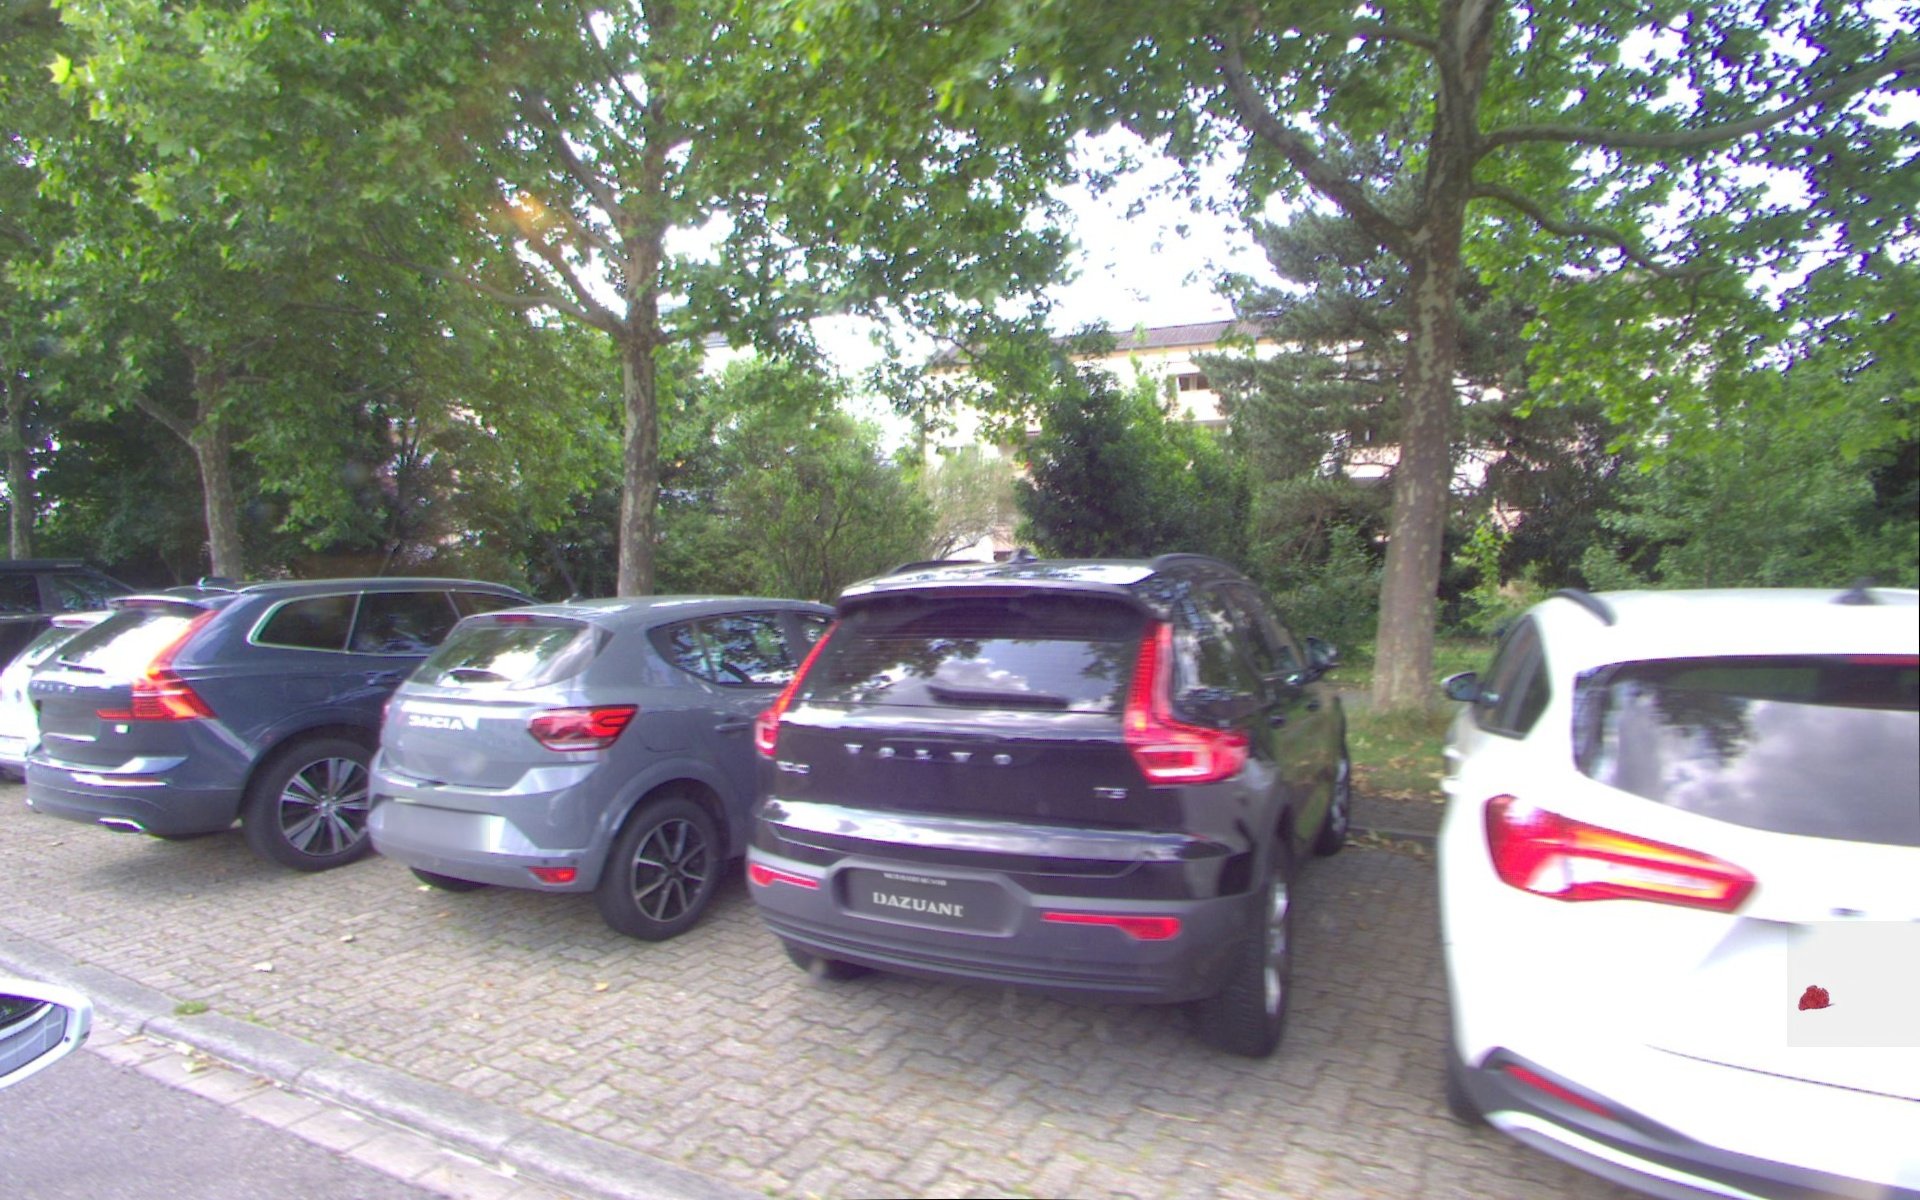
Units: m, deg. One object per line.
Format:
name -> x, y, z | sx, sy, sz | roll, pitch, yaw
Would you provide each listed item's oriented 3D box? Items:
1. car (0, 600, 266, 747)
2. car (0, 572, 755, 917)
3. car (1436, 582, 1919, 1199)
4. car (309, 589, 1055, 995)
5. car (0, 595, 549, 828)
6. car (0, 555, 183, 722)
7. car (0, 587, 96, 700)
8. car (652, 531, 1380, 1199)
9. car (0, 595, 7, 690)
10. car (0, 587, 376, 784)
car -> -10.640, 0.804, 11.544 | 1.730, 1.514, 3.959 | -1, 1, 30
car -> -3.640, 0.666, 7.124 | 1.731, 1.661, 4.371 | 0, 1, 32
car -> 2.789, 0.689, 3.632 | 1.818, 1.493, 4.655 | 0, 1, 27
car -> -1.177, 0.708, 6.120 | 1.731, 1.521, 4.371 | 0, 1, 32
car -> -5.888, 0.738, 8.824 | 1.730, 1.514, 3.959 | 0, 1, 30
car -> -13.296, 0.502, 13.125 | 1.828, 2.152, 4.538 | 0, 1, 30
car -> -16.472, 0.709, 15.332 | 1.828, 1.790, 4.538 | 0, 1, 30
car -> 0.880, 0.624, 4.856 | 1.818, 1.648, 4.655 | 0, 1, 27
car -> -18.840, 0.794, 16.229 | 1.826, 1.683, 4.543 | 0, 1, 26
car -> -8.280, 0.704, 10.053 | 1.725, 1.627, 3.969 | 0, 1, 20
